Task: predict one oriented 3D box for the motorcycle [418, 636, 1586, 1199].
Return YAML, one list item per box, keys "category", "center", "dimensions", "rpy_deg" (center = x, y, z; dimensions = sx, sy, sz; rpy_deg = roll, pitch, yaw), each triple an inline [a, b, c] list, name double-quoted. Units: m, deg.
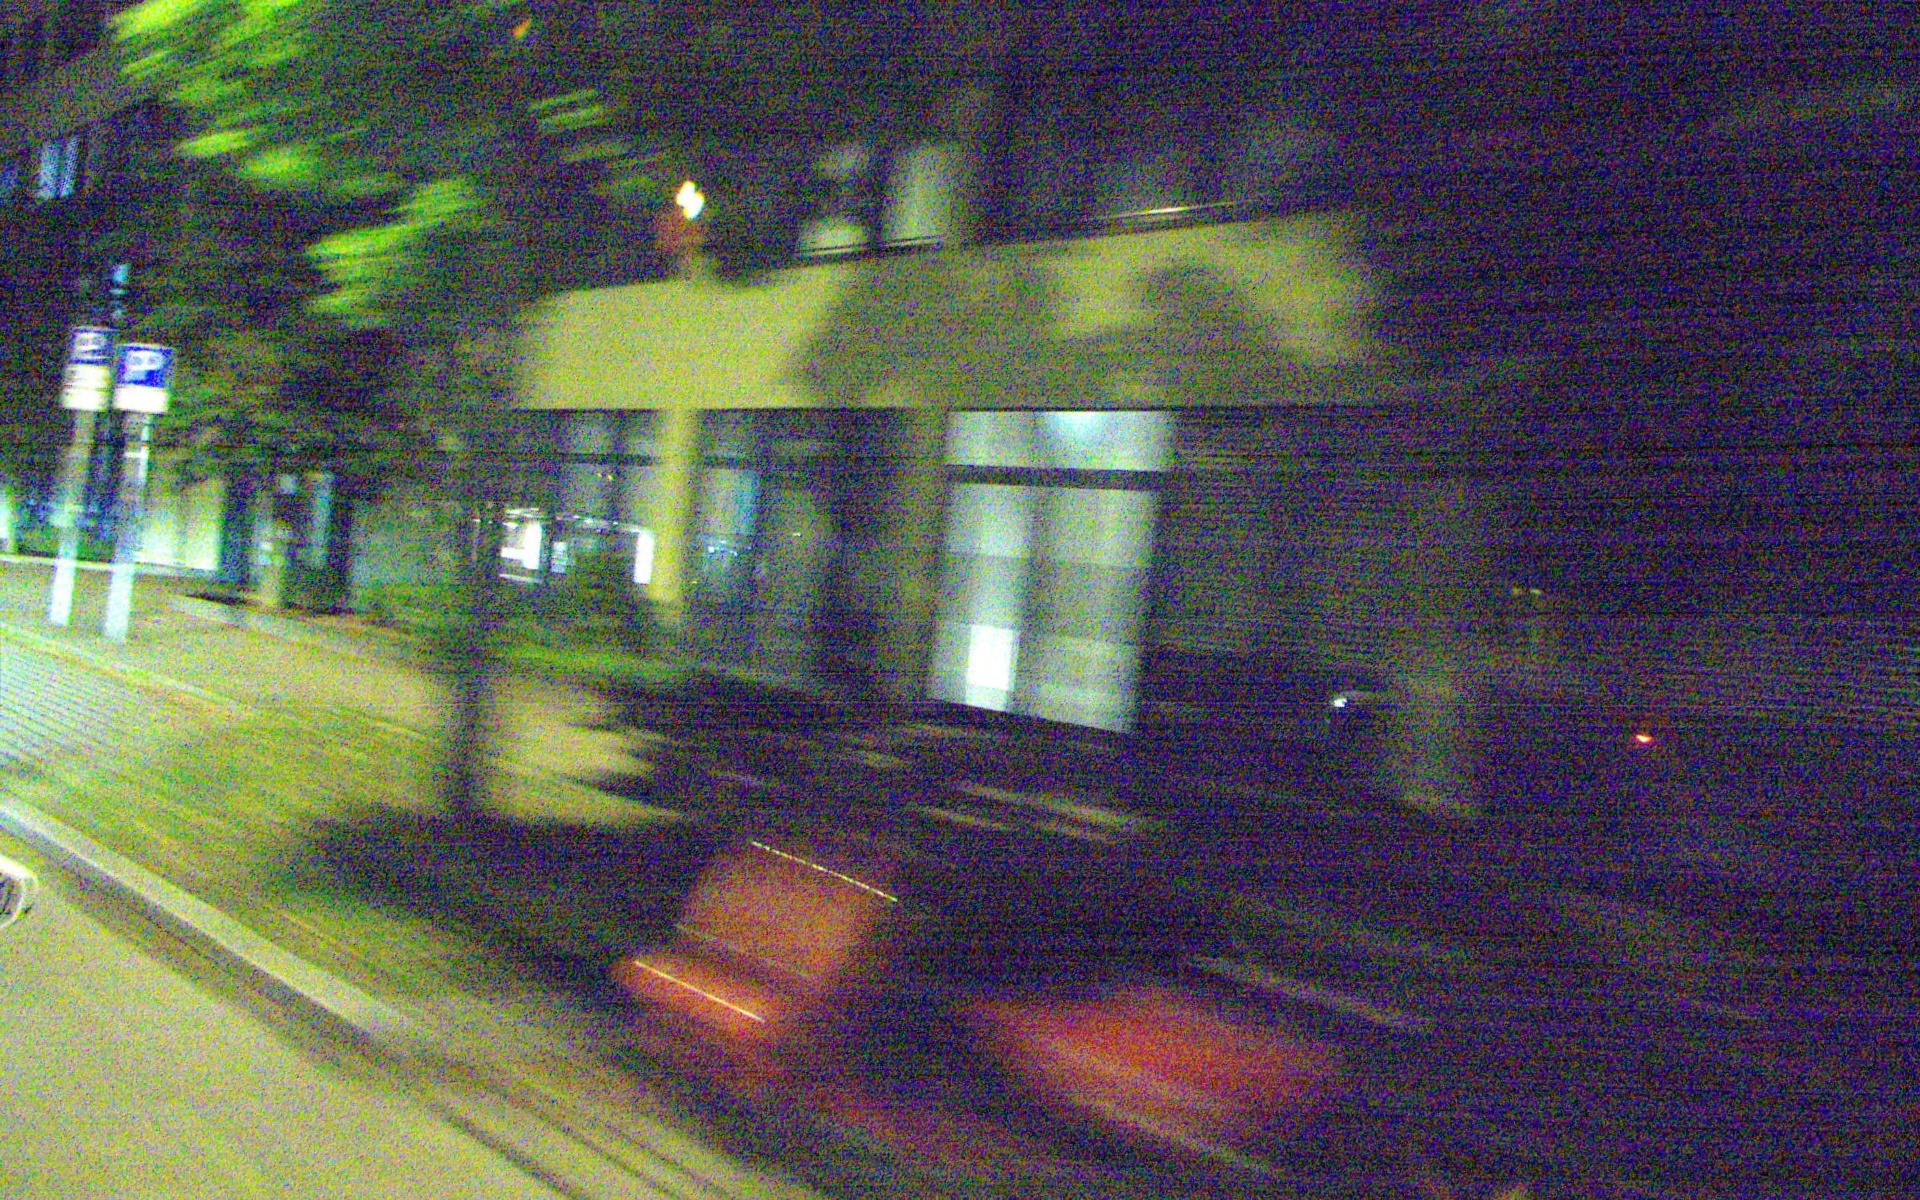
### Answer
- category: "motorcycle"
  center: [0.045, 0.884, 2.447]
  dimensions: [2.192, 1.300, 0.929]
  rpy_deg: [7, 2, 7]
